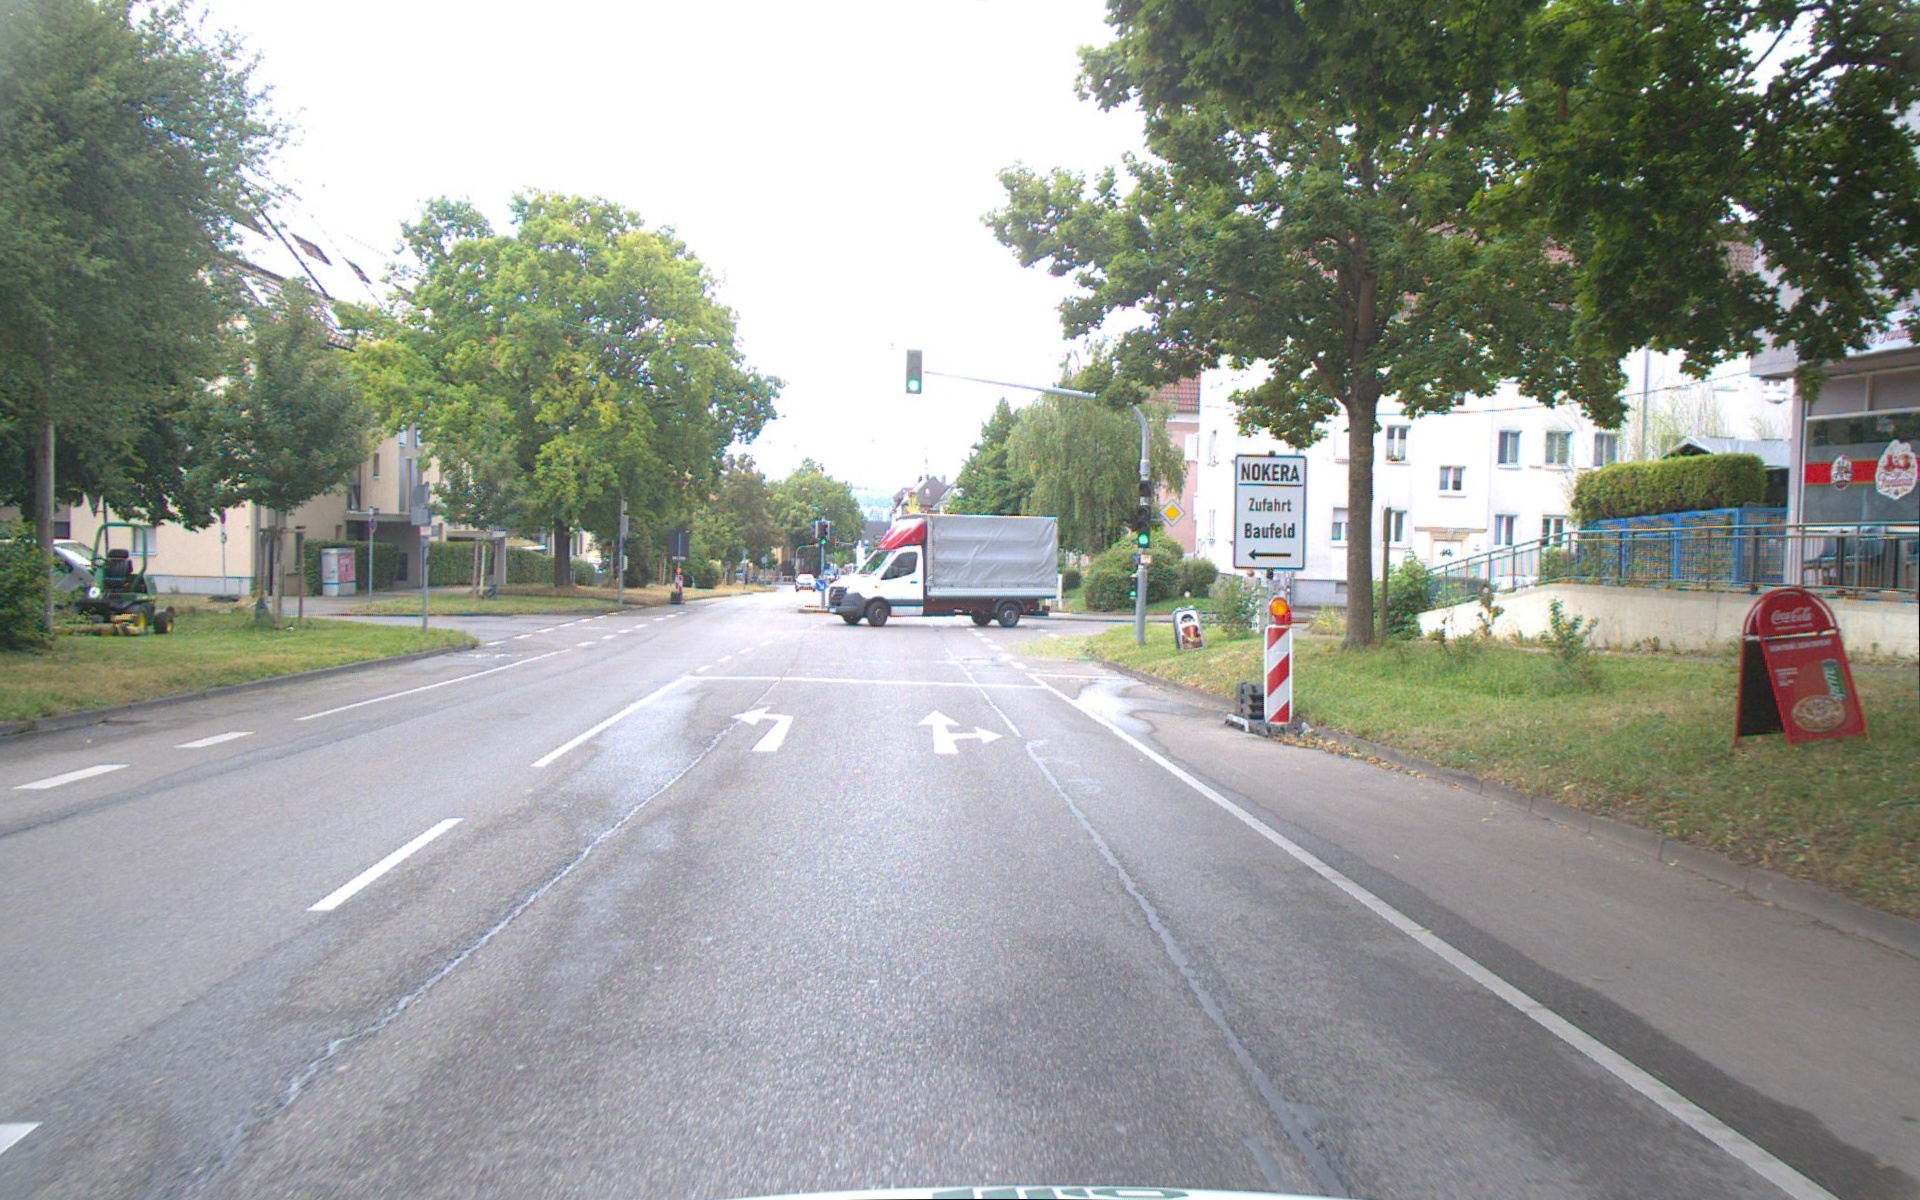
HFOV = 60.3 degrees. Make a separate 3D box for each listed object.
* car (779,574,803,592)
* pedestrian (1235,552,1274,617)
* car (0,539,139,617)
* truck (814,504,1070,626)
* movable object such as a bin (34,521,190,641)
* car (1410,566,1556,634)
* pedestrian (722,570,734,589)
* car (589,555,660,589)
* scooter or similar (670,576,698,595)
[{"bbox_3d":[-14.934,-1.482,146.623,1.954,1.531,3.997,2,1,-4],"label":"car"},{"bbox_3d":[8.749,-0.457,49.134,0.736,1.887,0.950,-2,1,-18],"label":"pedestrian"},{"bbox_3d":[-23.665,-0.585,41.666,4.895,1.845,1.998,2,0,-5],"label":"car"},{"bbox_3d":[-0.496,-0.978,48.836,7.134,3.364,2.520,1,1,-25],"label":"truck"},{"bbox_3d":[-14.652,-0.335,28.711,1.192,1.937,3.024,2,0,-2],"label":"movable object such as a bin"},{"bbox_3d":[12.547,-0.040,39.926,1.834,1.498,3.994,2,1,-7],"label":"car"},{"bbox_3d":[-20.763,-1.804,148.016,0.930,1.678,1.041,2,0,-9],"label":"pedestrian"},{"bbox_3d":[-17.719,-1.474,87.489,3.382,1.624,1.998,2,0,-5],"label":"car"},{"bbox_3d":[-17.301,-0.911,103.637,1.663,1.101,0.744,2,0,-11],"label":"scooter or similar"}]
